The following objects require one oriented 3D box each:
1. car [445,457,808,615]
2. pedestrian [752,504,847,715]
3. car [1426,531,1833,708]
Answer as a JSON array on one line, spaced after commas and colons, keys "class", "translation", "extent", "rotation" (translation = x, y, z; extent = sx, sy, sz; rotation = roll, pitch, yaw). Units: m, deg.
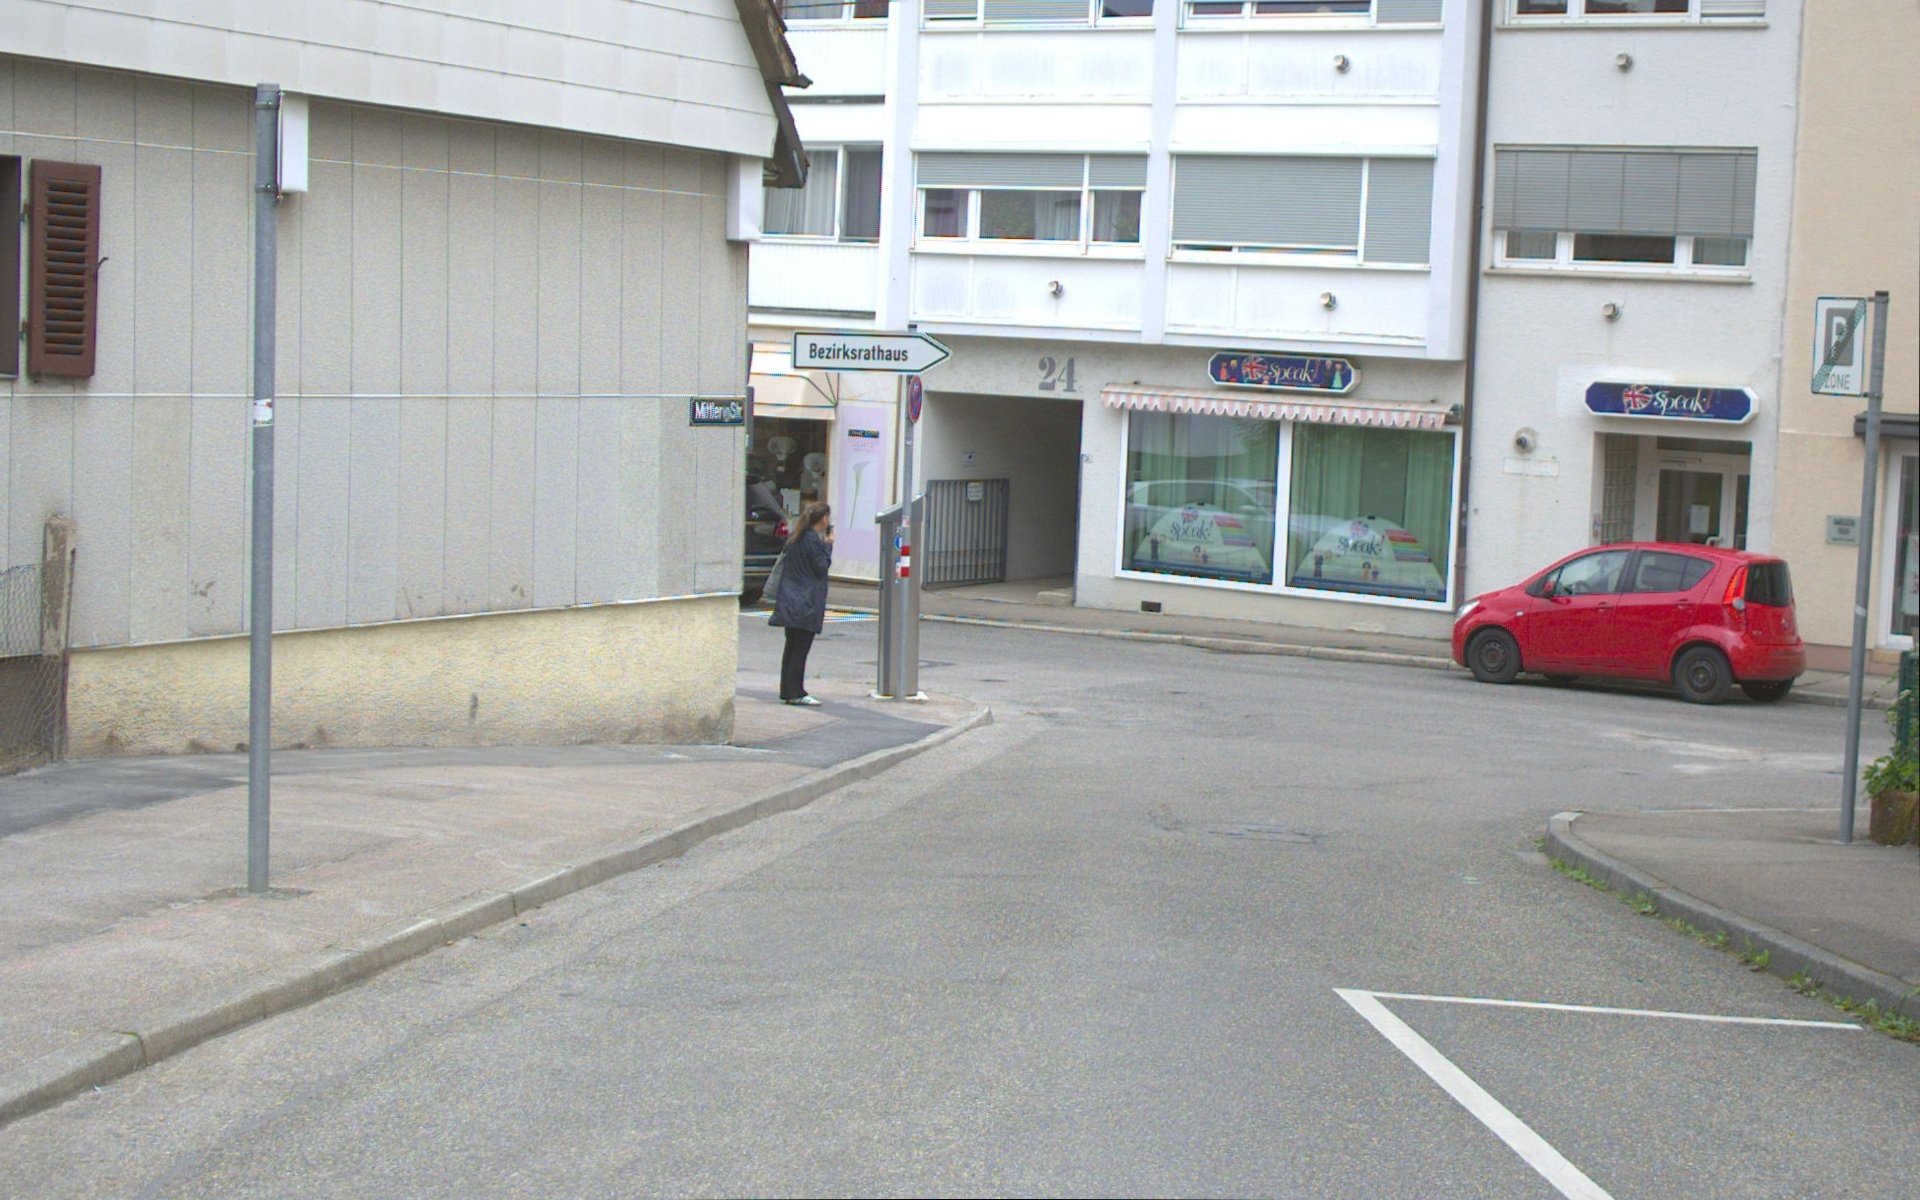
[{"class": "car", "translation": [-4.252, -0.836, 43.494], "extent": [4.364, 1.773, 1.943], "rotation": [4, 3, 37]}, {"class": "pedestrian", "translation": [-1.318, 0.069, 28.174], "extent": [0.646, 1.679, 0.604], "rotation": [3, 2, -8]}, {"class": "car", "translation": [6.899, 0.171, 35.587], "extent": [3.692, 1.551, 1.693], "rotation": [5, 3, 38]}]
